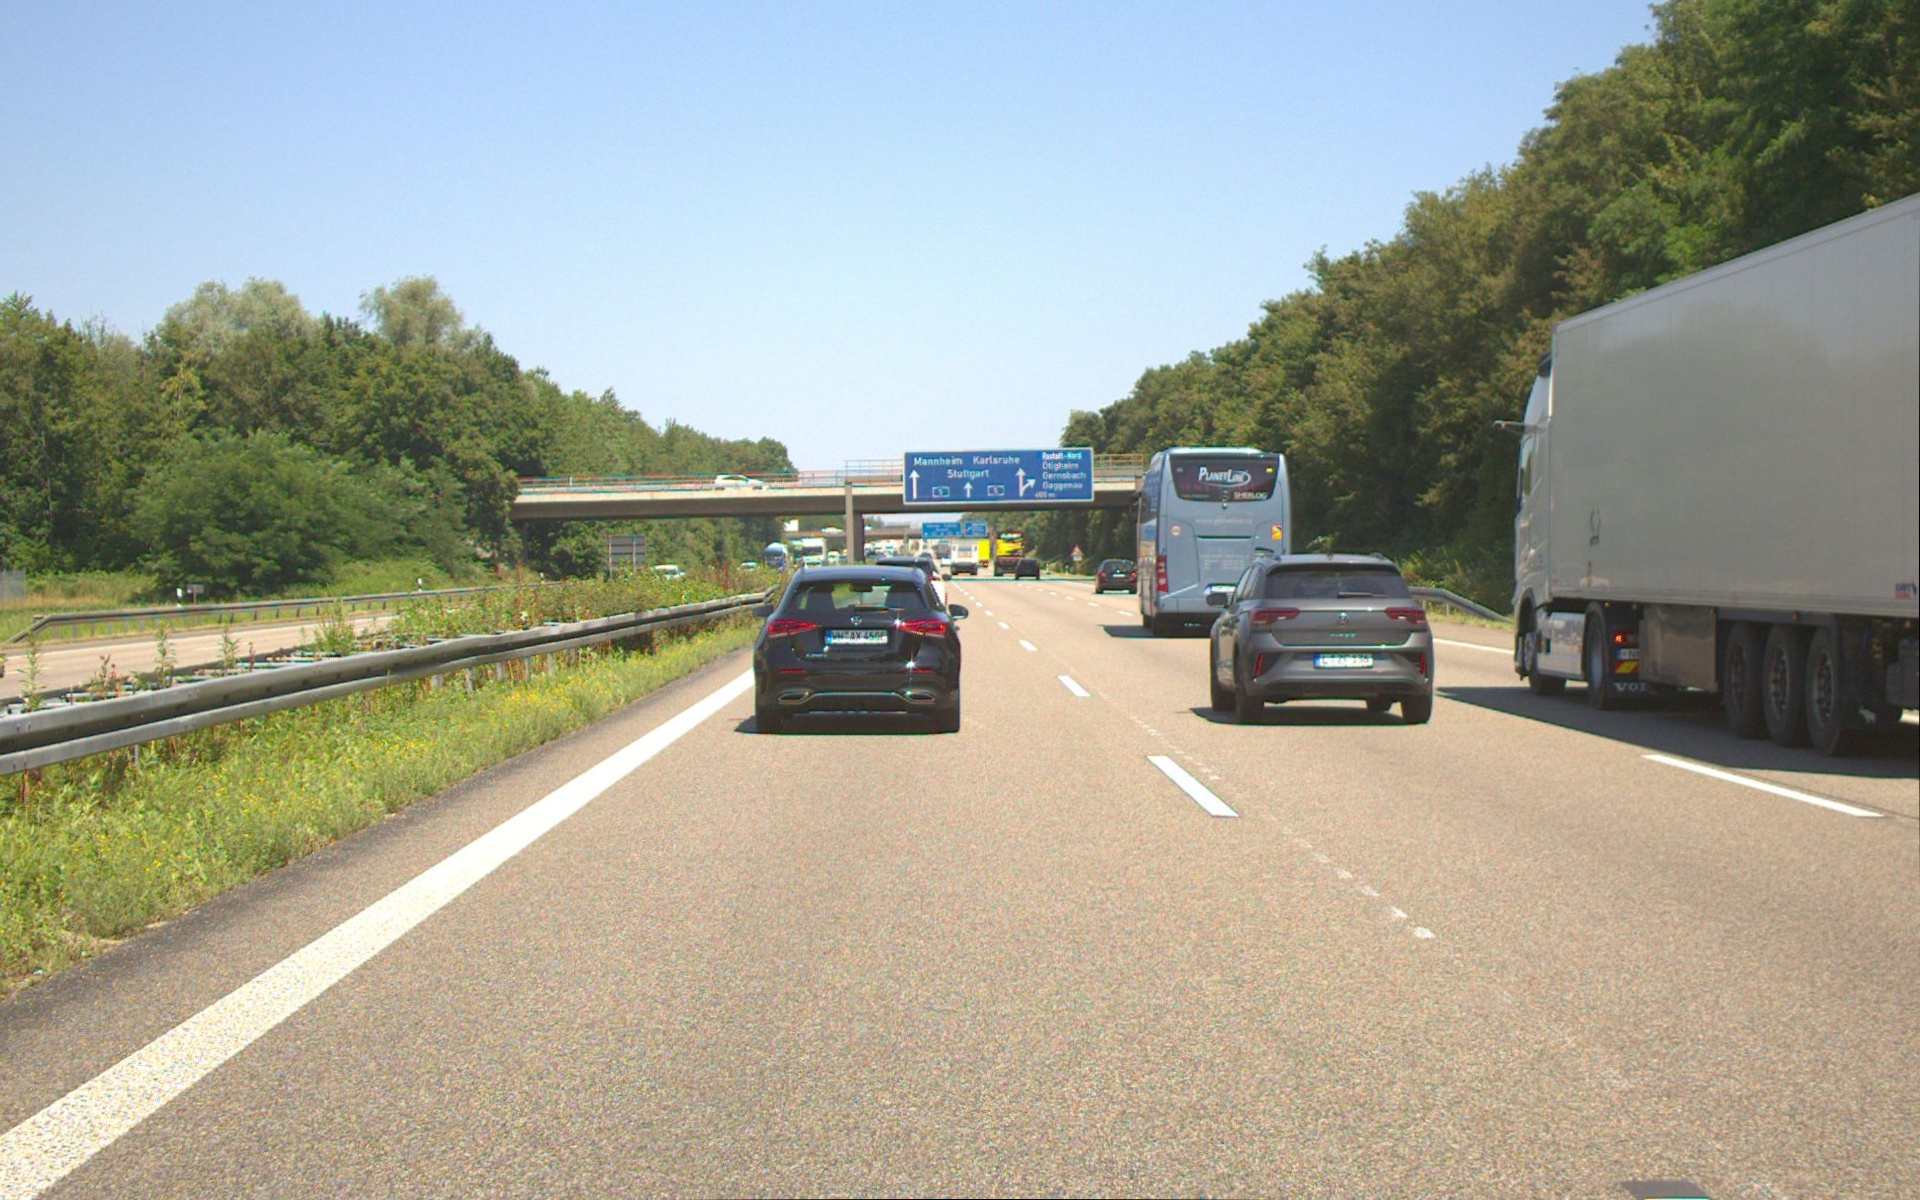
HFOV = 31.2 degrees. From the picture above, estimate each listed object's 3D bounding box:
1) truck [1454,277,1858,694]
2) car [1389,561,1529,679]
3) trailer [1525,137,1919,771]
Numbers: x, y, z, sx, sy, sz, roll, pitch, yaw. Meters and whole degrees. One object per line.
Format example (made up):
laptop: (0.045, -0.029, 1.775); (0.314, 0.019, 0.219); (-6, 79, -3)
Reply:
truck: (7.490, -1.206, 37.880); (3.047, 4.200, 6.049); (0, 1, -1)
car: (9.366, 0.347, 64.765); (1.899, 2.113, 4.242); (0, 1, -1)
trailer: (7.708, -1.067, 29.582); (3.039, 4.210, 13.837); (0, 1, -1)
